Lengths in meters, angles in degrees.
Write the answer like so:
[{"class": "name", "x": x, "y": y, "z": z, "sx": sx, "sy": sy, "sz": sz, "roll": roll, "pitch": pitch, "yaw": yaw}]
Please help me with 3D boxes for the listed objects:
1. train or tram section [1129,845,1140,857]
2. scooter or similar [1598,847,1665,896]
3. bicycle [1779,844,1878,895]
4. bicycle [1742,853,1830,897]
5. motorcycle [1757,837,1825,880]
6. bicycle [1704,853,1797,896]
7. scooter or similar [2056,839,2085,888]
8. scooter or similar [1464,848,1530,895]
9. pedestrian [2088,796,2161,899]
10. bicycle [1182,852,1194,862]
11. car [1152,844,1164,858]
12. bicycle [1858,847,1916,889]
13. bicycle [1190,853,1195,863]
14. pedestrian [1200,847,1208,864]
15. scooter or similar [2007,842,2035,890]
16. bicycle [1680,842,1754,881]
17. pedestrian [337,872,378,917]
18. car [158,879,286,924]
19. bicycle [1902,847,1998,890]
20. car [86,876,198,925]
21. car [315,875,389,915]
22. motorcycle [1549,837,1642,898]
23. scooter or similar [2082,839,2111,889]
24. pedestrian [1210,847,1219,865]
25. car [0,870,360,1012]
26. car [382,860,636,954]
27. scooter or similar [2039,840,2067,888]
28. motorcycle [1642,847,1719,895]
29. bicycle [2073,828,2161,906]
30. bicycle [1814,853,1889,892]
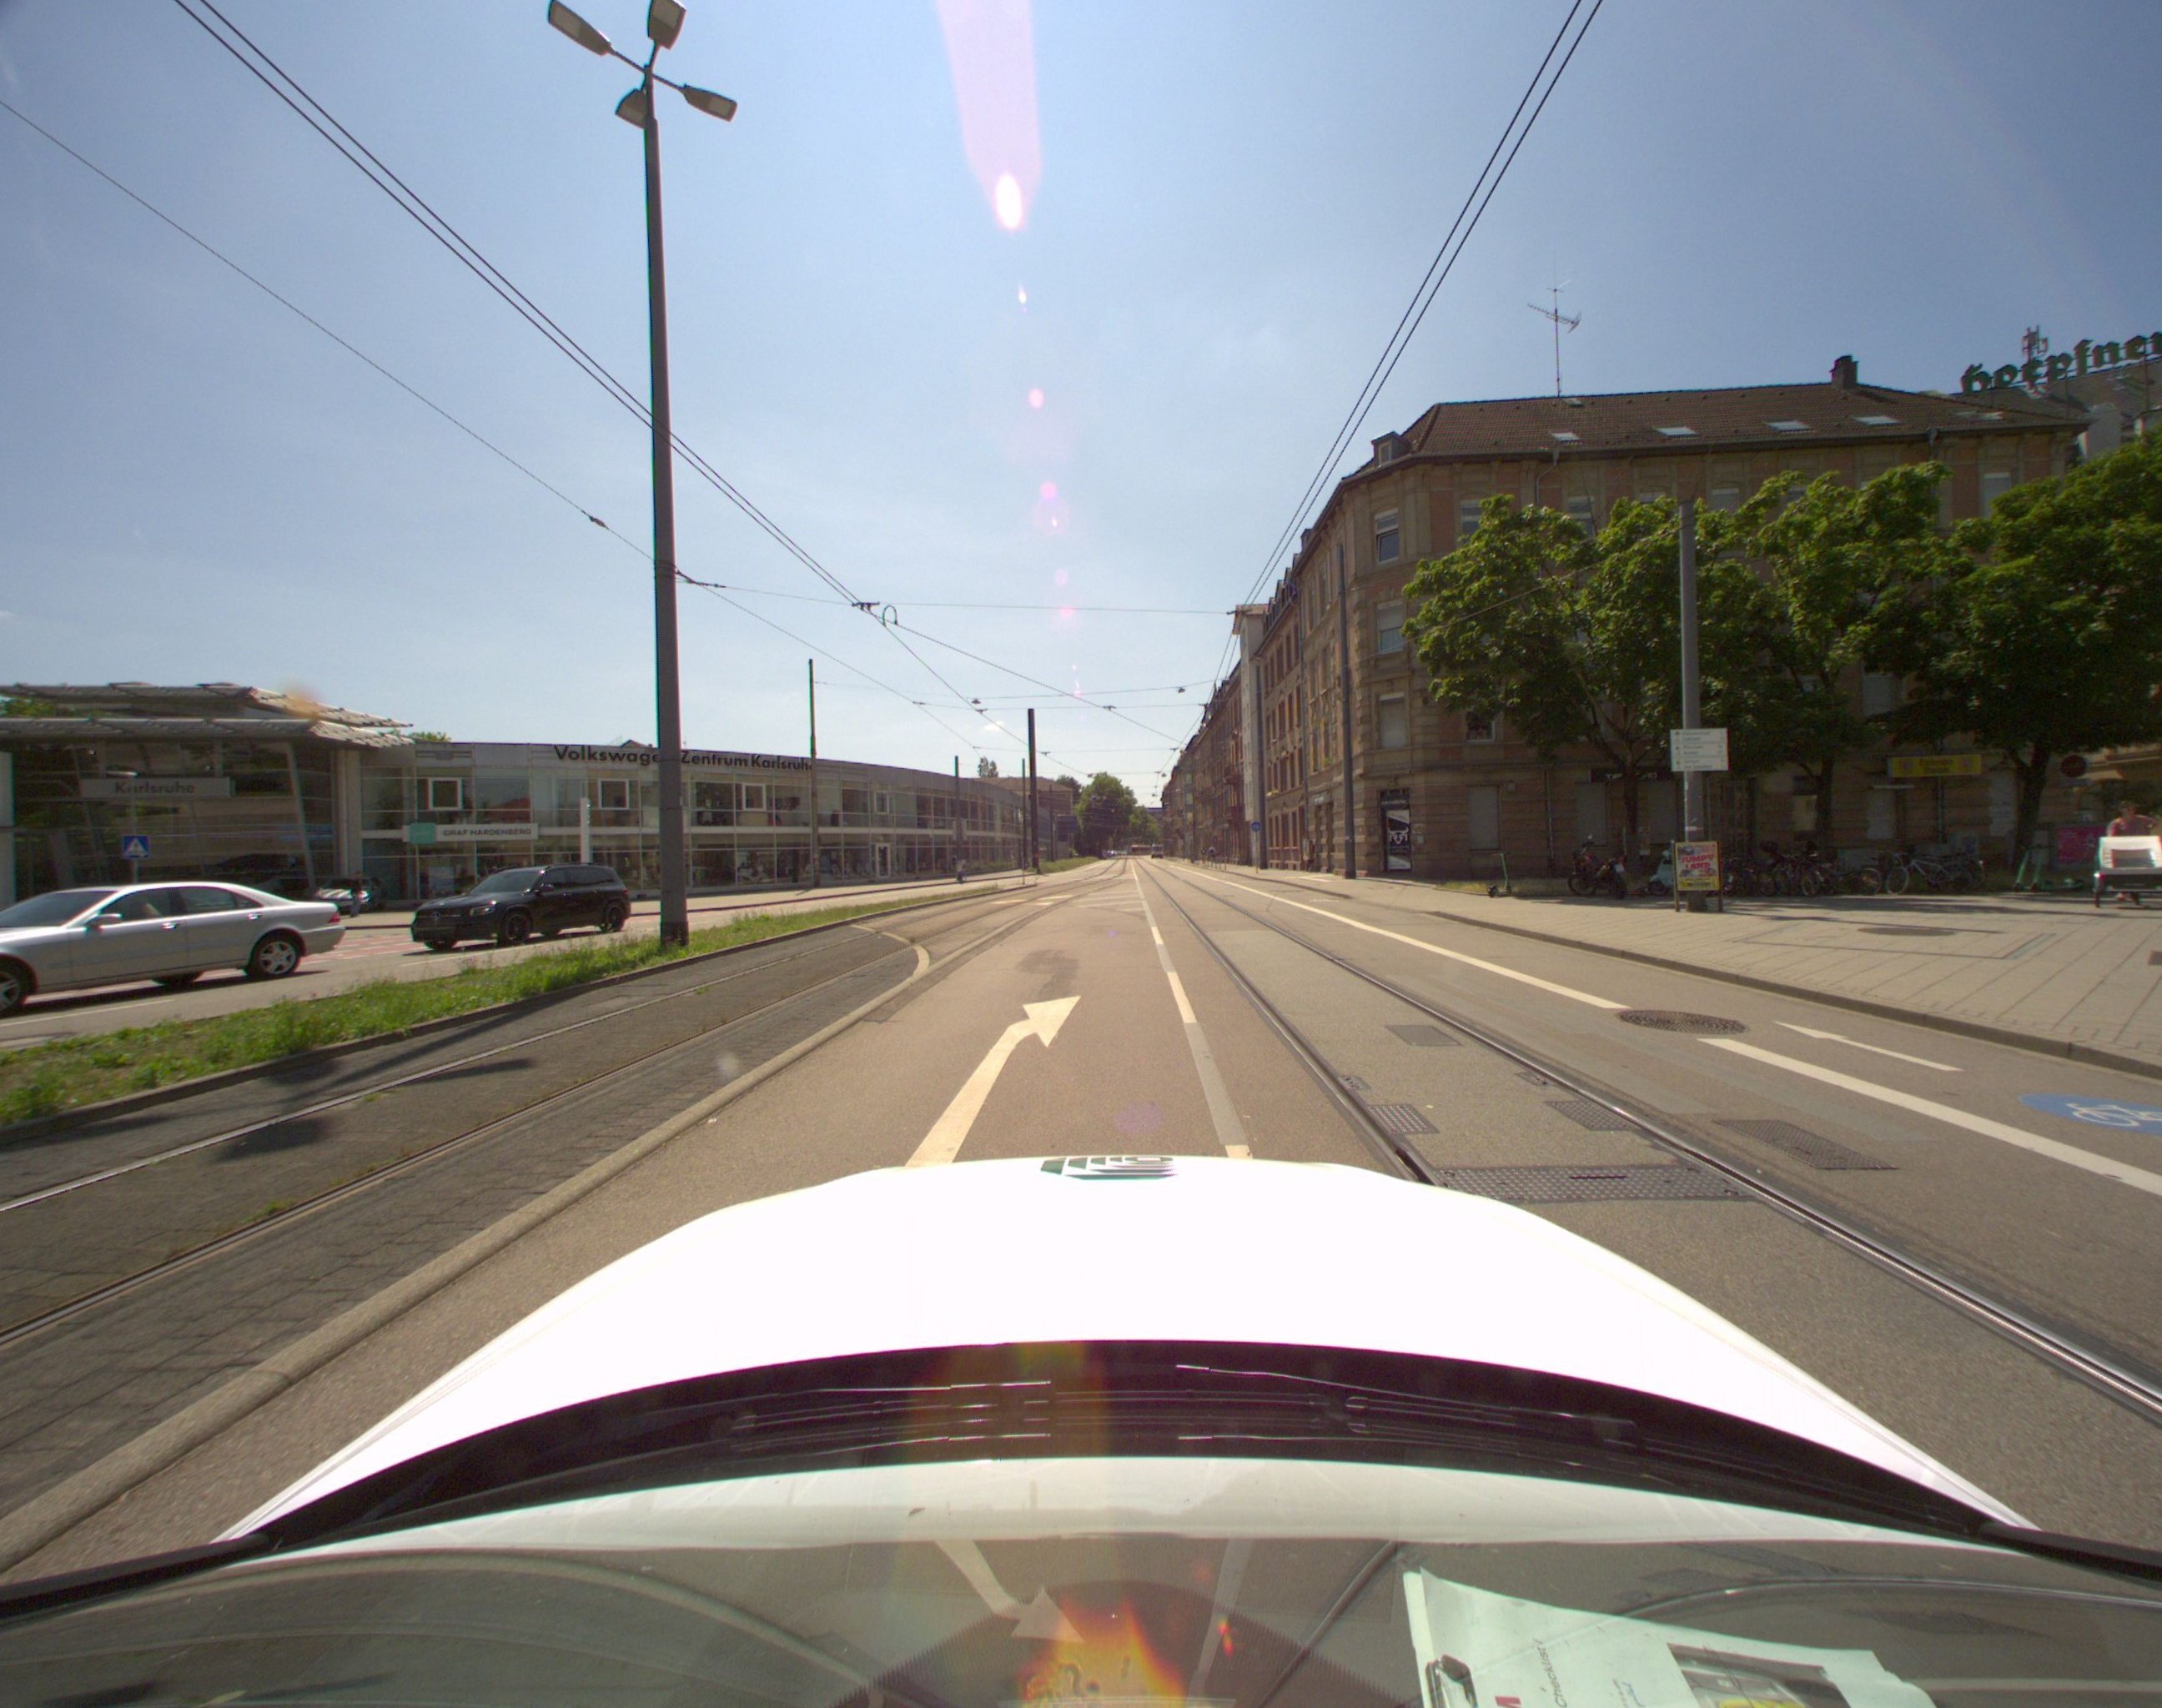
[{"class": "train or tram section", "x": 16.793, "y": -0.932, "z": 256.345, "sx": 2.948, "sy": 3.580, "sz": 13.433, "roll": -2, "pitch": 0, "yaw": 3}, {"class": "scooter or similar", "x": 13.659, "y": 0.439, "z": 20.246, "sx": 0.599, "sy": 1.152, "sz": 1.376, "roll": -2, "pitch": -1, "yaw": -6}, {"class": "bicycle", "x": 17.708, "y": 0.341, "z": 19.349, "sx": 0.643, "sy": 1.146, "sz": 1.838, "roll": -2, "pitch": 0, "yaw": 0}, {"class": "bicycle", "x": 16.891, "y": 0.478, "z": 19.570, "sx": 0.642, "sy": 0.965, "sz": 1.842, "roll": -2, "pitch": 0, "yaw": 6}, {"class": "motorcycle", "x": 22.452, "y": 0.142, "z": 25.755, "sx": 1.633, "sy": 1.290, "sz": 0.503, "roll": -2, "pitch": 0, "yaw": 2}, {"class": "bicycle", "x": 16.135, "y": 0.468, "z": 19.703, "sx": 0.642, "sy": 0.965, "sz": 2.084, "roll": -2, "pitch": 0, "yaw": 4}, {"class": "scooter or similar", "x": 23.398, "y": 0.209, "z": 19.257, "sx": 0.990, "sy": 1.125, "sz": 0.265, "roll": -2, "pitch": 0, "yaw": -31}, {"class": "scooter or similar", "x": 10.832, "y": 0.443, "z": 21.208, "sx": 1.528, "sy": 1.155, "sz": 0.709, "roll": -2, "pitch": 0, "yaw": -26}, {"class": "pedestrian", "x": 18.716, "y": -0.108, "z": 14.573, "sx": 0.829, "sy": 1.775, "sz": 0.804, "roll": -1, "pitch": -1, "yaw": -41}, {"class": "bicycle", "x": 12.492, "y": 0.339, "z": 95.009, "sx": 0.494, "sy": 1.130, "sz": 2.257, "roll": -2, "pitch": 0, "yaw": 32}, {"class": "car", "x": 14.091, "y": -0.552, "z": 148.574, "sx": 2.058, "sy": 2.501, "sz": 5.461, "roll": -1, "pitch": 0, "yaw": 4}, {"class": "bicycle", "x": 19.871, "y": 0.328, "z": 20.101, "sx": 0.451, "sy": 0.992, "sz": 1.436, "roll": -2, "pitch": 0, "yaw": 21}, {"class": "bicycle", "x": 11.969, "y": 0.442, "z": 87.487, "sx": 0.445, "sy": 1.097, "sz": 2.429, "roll": -2, "pitch": 0, "yaw": 9}, {"class": "pedestrian", "x": 12.683, "y": 0.183, "z": 84.209, "sx": 0.717, "sy": 1.720, "sz": 0.644, "roll": -2, "pitch": 0, "yaw": 4}, {"class": "scooter or similar", "x": 23.051, "y": 0.288, "z": 19.962, "sx": 0.990, "sy": 1.125, "sz": 0.265, "roll": -2, "pitch": 0, "yaw": -31}, {"class": "bicycle", "x": 20.509, "y": 0.243, "z": 26.290, "sx": 1.871, "sy": 1.178, "sz": 0.714, "roll": -2, "pitch": 0, "yaw": -4}, {"class": "pedestrian", "x": -26.930, "y": 1.501, "z": 30.336, "sx": 0.724, "sy": 1.642, "sz": 0.822, "roll": -2, "pitch": 0, "yaw": 7}, {"class": "car", "x": -32.179, "y": 1.731, "z": 30.677, "sx": 1.613, "sy": 1.420, "sz": 4.159, "roll": -2, "pitch": 0, "yaw": -20}, {"class": "bicycle", "x": 21.107, "y": 0.350, "z": 19.827, "sx": 0.502, "sy": 0.992, "sz": 1.564, "roll": -2, "pitch": 0, "yaw": -11}, {"class": "car", "x": -34.560, "y": 1.653, "z": 30.088, "sx": 1.430, "sy": 1.618, "sz": 3.304, "roll": -1, "pitch": 0, "yaw": -25}, {"class": "car", "x": -29.569, "y": 1.613, "z": 33.137, "sx": 1.507, "sy": 1.457, "sz": 4.015, "roll": -2, "pitch": 0, "yaw": -31}, {"class": "motorcycle", "x": 12.437, "y": 0.307, "z": 19.807, "sx": 0.760, "sy": 1.362, "sz": 2.599, "roll": -2, "pitch": 0, "yaw": 4}, {"class": "scooter or similar", "x": 23.563, "y": 0.227, "z": 18.890, "sx": 0.990, "sy": 1.125, "sz": 0.265, "roll": -2, "pitch": 0, "yaw": -31}, {"class": "pedestrian", "x": 13.791, "y": 0.184, "z": 83.941, "sx": 0.699, "sy": 1.849, "sz": 0.644, "roll": -5, "pitch": -1, "yaw": 4}, {"class": "car", "x": -13.086, "y": 1.074, "z": 10.907, "sx": 1.985, "sy": 1.530, "sz": 5.136, "roll": -3, "pitch": 0, "yaw": 4}, {"class": "car", "x": -11.892, "y": 1.004, "z": 17.412, "sx": 1.812, "sy": 1.626, "sz": 4.534, "roll": -3, "pitch": 0, "yaw": 7}, {"class": "scooter or similar", "x": 23.353, "y": 0.228, "z": 19.563, "sx": 0.990, "sy": 1.125, "sz": 0.265, "roll": -2, "pitch": 0, "yaw": -31}, {"class": "motorcycle", "x": 14.712, "y": 0.405, "z": 20.050, "sx": 0.688, "sy": 1.096, "sz": 1.749, "roll": -2, "pitch": -1, "yaw": 4}, {"class": "bicycle", "x": 18.211, "y": 0.195, "z": 14.186, "sx": 2.233, "sy": 1.251, "sz": 1.086, "roll": -2, "pitch": 0, "yaw": -41}, {"class": "bicycle", "x": 18.683, "y": 0.439, "z": 19.779, "sx": 0.454, "sy": 0.905, "sz": 1.428, "roll": -2, "pitch": 0, "yaw": 0}]
